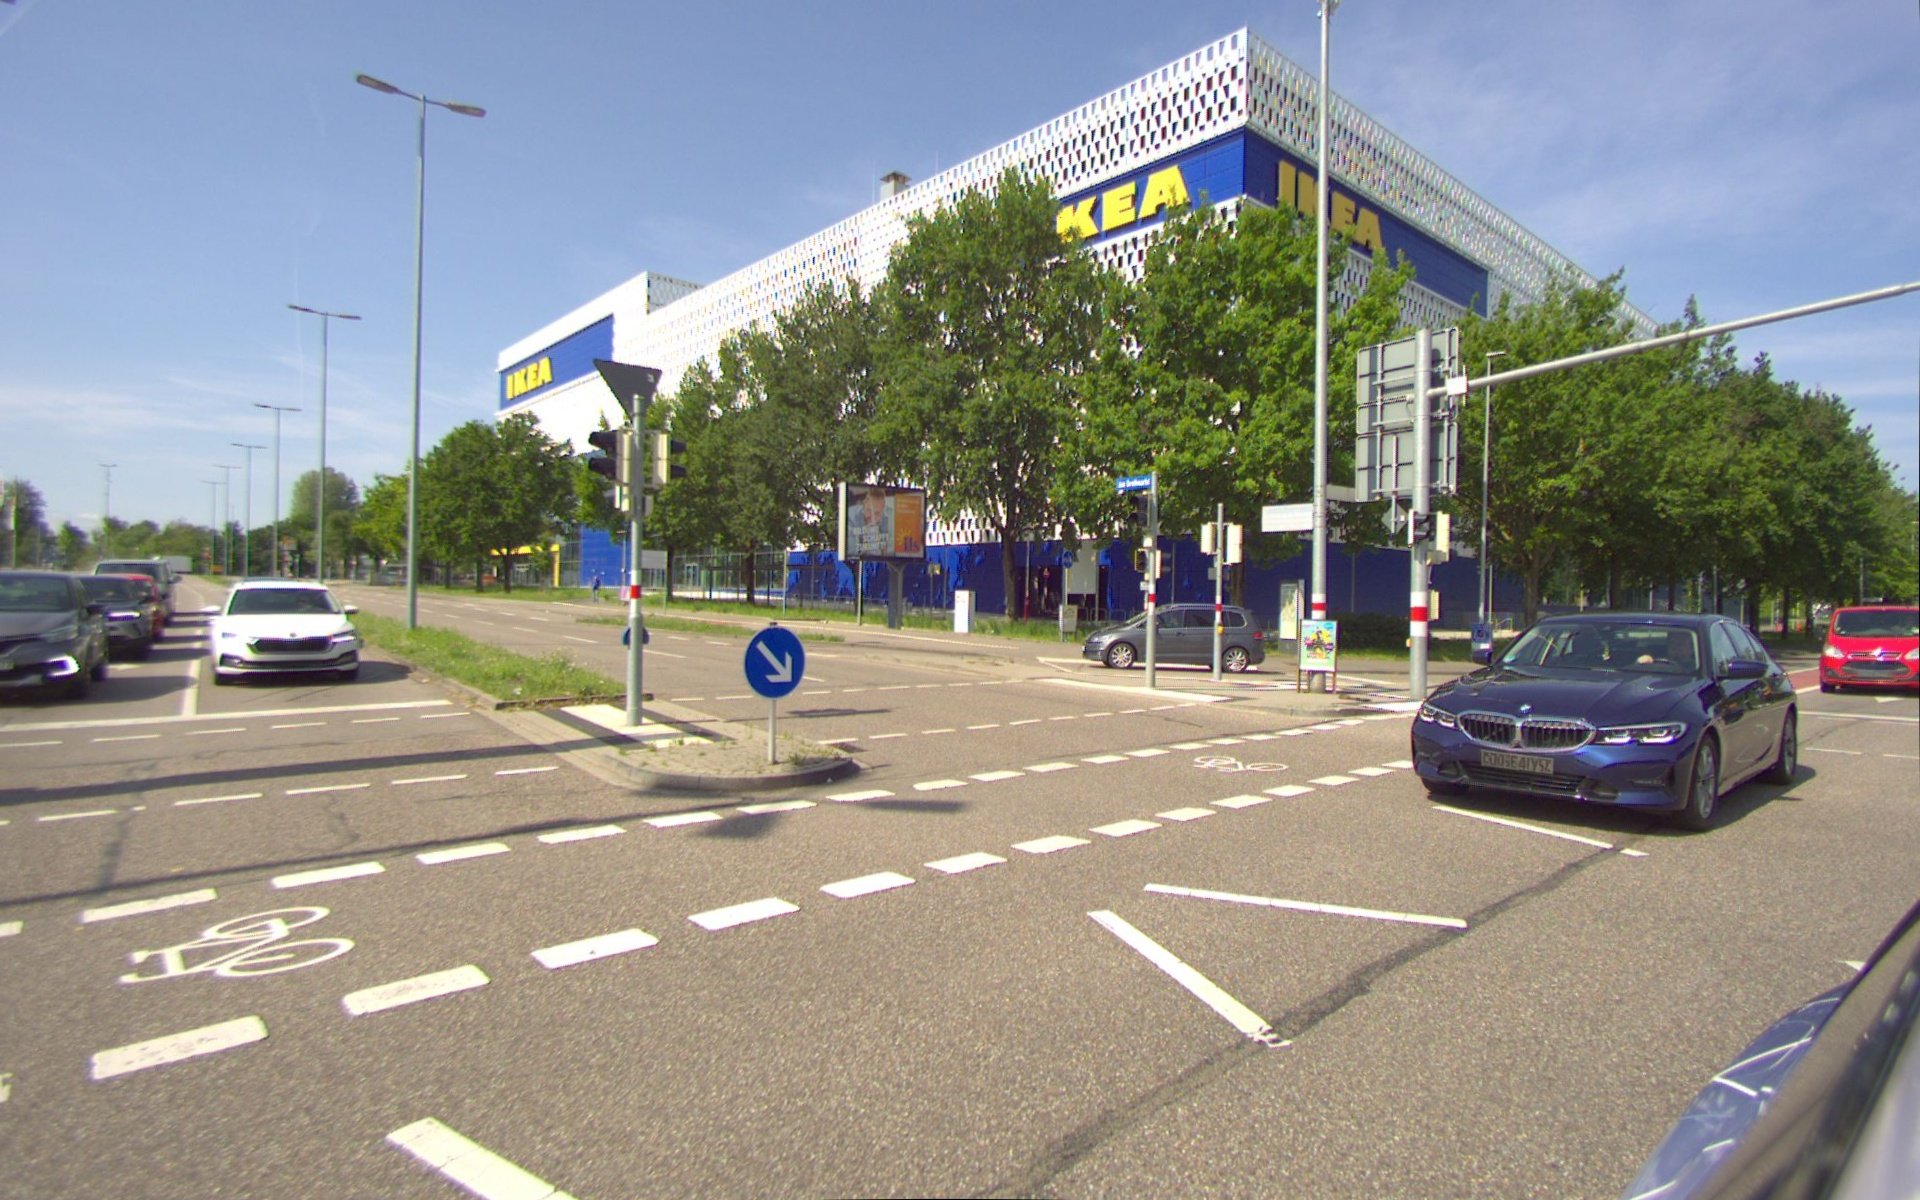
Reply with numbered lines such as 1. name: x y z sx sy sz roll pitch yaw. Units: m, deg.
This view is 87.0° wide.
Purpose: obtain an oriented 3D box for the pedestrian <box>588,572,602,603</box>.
1. pedestrian: -24.292 -0.815 67.306 0.597 2.040 0.673 -3 -2 35

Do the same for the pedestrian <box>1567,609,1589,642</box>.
1. pedestrian: 29.441 1.216 48.219 0.767 1.566 0.680 1 -1 -41

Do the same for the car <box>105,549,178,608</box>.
1. car: -29.216 -0.751 36.230 1.879 1.960 4.787 0 1 -37

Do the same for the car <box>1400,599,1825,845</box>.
1. car: 5.449 0.740 8.182 4.460 1.447 1.798 1 0 -42

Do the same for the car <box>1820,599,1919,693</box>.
1. car: 21.133 0.980 22.819 4.727 1.932 2.011 1 -2 -42

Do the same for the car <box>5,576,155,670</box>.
1. car: -16.234 0.336 18.854 1.874 1.527 4.039 0 1 -38

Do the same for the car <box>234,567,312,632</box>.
1. car: -18.998 -0.024 27.929 1.652 1.640 4.130 1 0 -36

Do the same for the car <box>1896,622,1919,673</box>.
1. car: 29.262 1.392 30.160 3.848 1.441 1.690 1 -2 -42

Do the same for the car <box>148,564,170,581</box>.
1. car: -89.347 -3.061 112.871 1.850 1.704 3.997 1 2 -39

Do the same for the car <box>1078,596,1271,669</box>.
1. car: 5.217 0.771 25.098 4.307 1.676 2.000 1 0 0

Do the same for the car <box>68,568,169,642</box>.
1. car: -19.481 0.097 23.547 1.569 1.596 3.480 1 0 -36

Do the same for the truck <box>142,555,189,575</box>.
1. truck: -128.262 -5.669 163.485 5.874 3.067 1.996 0 -2 -42

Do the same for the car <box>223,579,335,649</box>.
1. car: -14.599 0.251 21.599 1.692 1.359 4.054 0 0 -38

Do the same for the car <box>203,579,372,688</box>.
1. car: -10.702 0.408 15.946 1.923 1.443 4.729 0 1 -37

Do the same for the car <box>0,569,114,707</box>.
1. car: -12.284 0.414 13.114 1.775 1.578 3.896 1 0 -37

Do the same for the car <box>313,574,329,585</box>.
1. car: -92.597 -3.014 146.717 1.611 1.555 3.914 1 0 -38

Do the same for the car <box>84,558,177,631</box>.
1. car: -24.582 -0.220 30.131 1.926 2.000 4.687 -1 2 -37
